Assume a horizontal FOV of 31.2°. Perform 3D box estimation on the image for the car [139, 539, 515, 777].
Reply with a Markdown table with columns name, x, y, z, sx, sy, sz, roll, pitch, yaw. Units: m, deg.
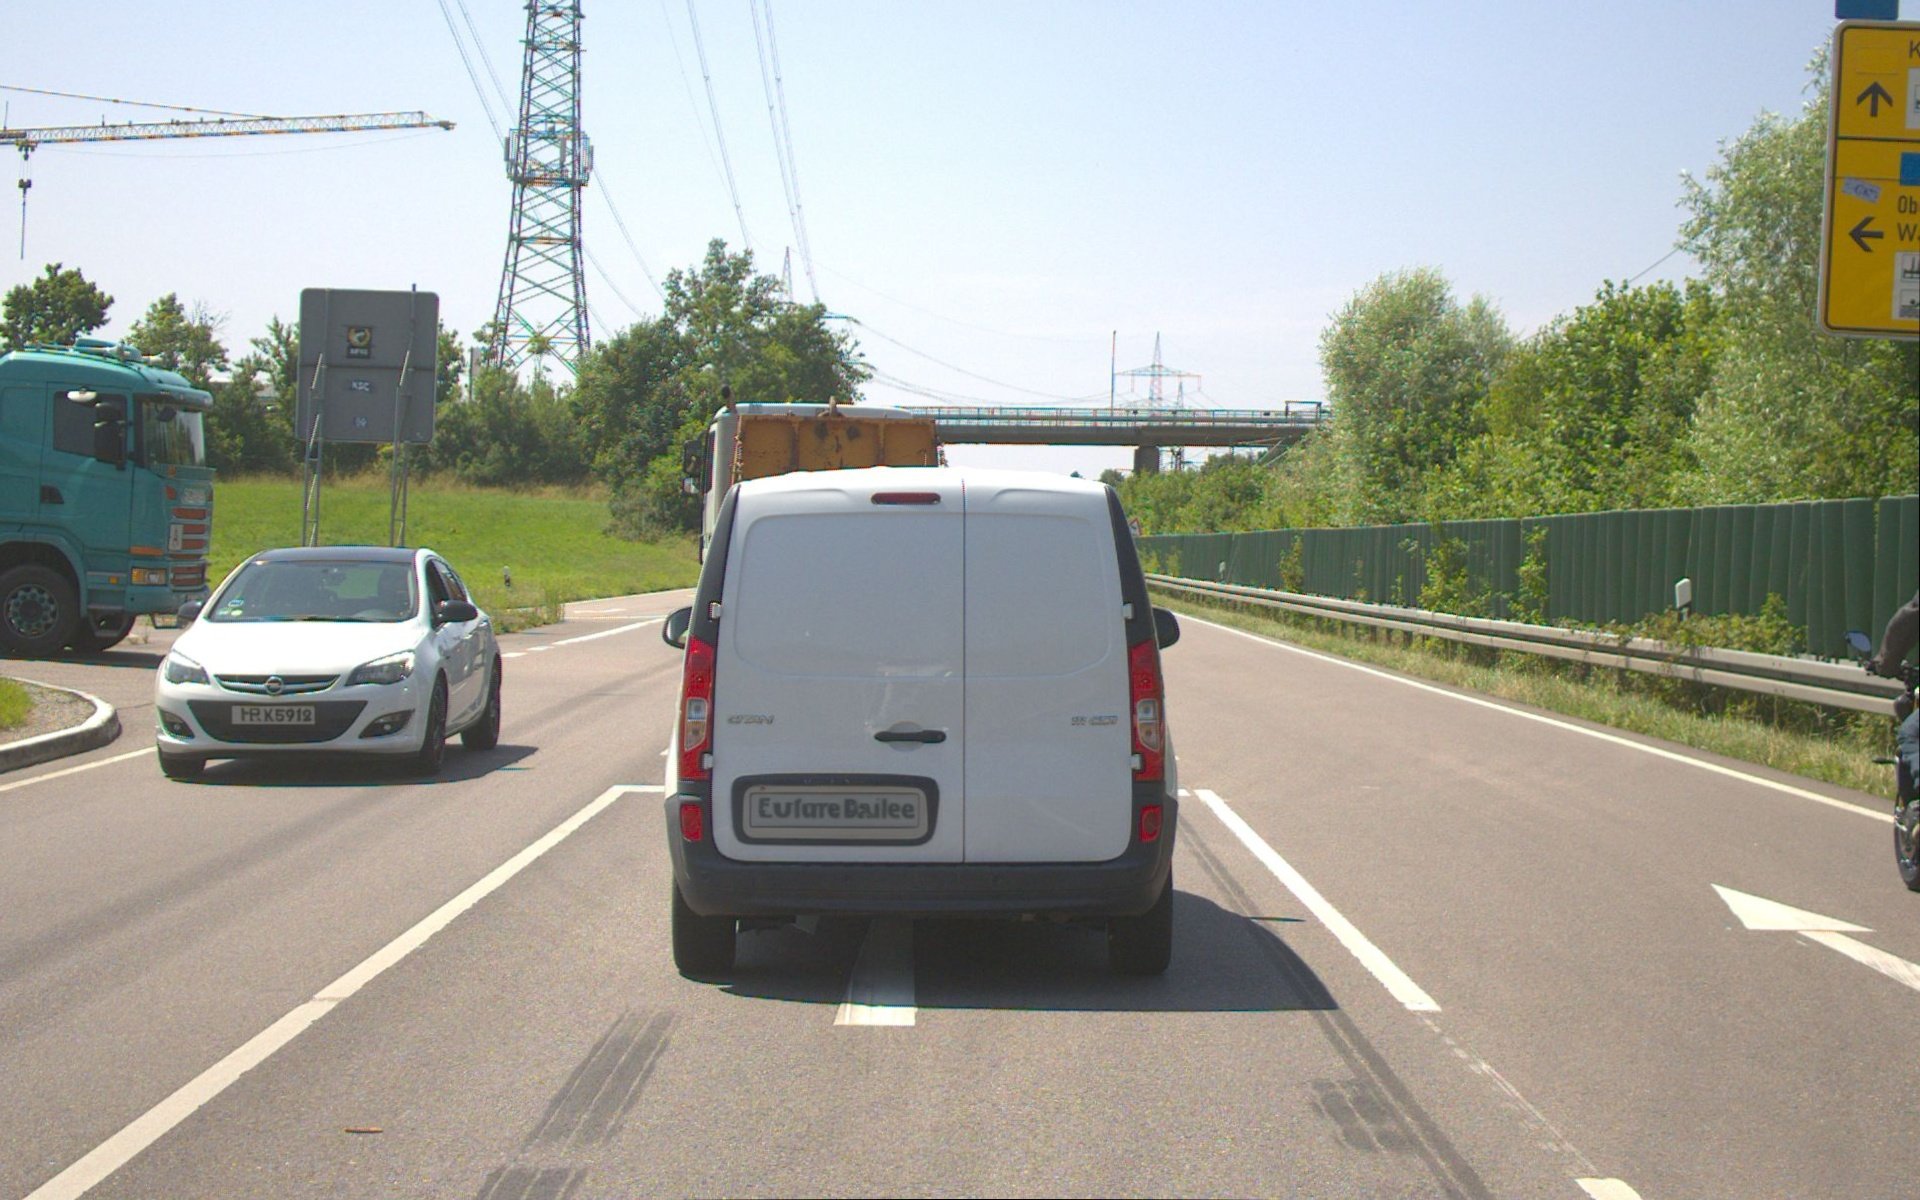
| name | x | y | z | sx | sy | sz | roll | pitch | yaw |
| --- | --- | --- | --- | --- | --- | --- | --- | --- | --- |
| car | -4.166 | 0.319 | 23.256 | 1.725 | 1.436 | 4.249 | 1 | 1 | 0 |

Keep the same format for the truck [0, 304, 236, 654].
| name | x | y | z | sx | sy | sz | roll | pitch | yaw |
| --- | --- | --- | --- | --- | --- | --- | --- | --- | --- |
| truck | -12.556 | -1.522 | 39.101 | 7.905 | 3.721 | 2.498 | 3 | 1 | 3 |

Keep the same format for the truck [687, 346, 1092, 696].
| name | x | y | z | sx | sy | sz | roll | pitch | yaw |
| --- | --- | --- | --- | --- | --- | --- | --- | --- | --- |
| truck | -1.039 | -0.895 | 37.470 | 2.819 | 3.277 | 9.704 | 1 | 2 | -10 |

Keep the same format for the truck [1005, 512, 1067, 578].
| name | x | y | z | sx | sy | sz | roll | pitch | yaw |
| --- | --- | --- | --- | --- | --- | --- | --- | --- | --- |
| truck | 3.194 | -2.344 | 146.328 | 2.374 | 2.680 | 8.010 | 2 | 1 | 0 |

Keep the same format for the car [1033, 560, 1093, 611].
| name | x | y | z | sx | sy | sz | roll | pitch | yaw |
| --- | --- | --- | --- | --- | --- | --- | --- | --- | --- |
| car | 3.313 | -0.475 | 111.590 | 1.848 | 1.568 | 4.000 | 1 | 1 | 0 |

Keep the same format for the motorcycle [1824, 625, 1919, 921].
| name | x | y | z | sx | sy | sz | roll | pitch | yaw |
| --- | --- | --- | --- | --- | --- | --- | --- | --- | --- |
| motorcycle | 4.268 | 0.715 | 14.331 | 0.790 | 1.153 | 1.901 | 1 | 1 | -1 |

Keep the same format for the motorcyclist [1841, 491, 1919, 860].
| name | x | y | z | sx | sy | sz | roll | pitch | yaw |
| --- | --- | --- | --- | --- | --- | --- | --- | --- | --- |
| motorcyclist | 4.234 | 0.301 | 14.224 | 0.889 | 1.471 | 1.002 | 1 | 1 | -1 |

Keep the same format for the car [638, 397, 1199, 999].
| name | x | y | z | sx | sy | sz | roll | pitch | yaw |
| --- | --- | --- | --- | --- | --- | --- | --- | --- | --- |
| car | -0.141 | 0.287 | 13.328 | 1.827 | 1.964 | 4.000 | 1 | 1 | 0 |
